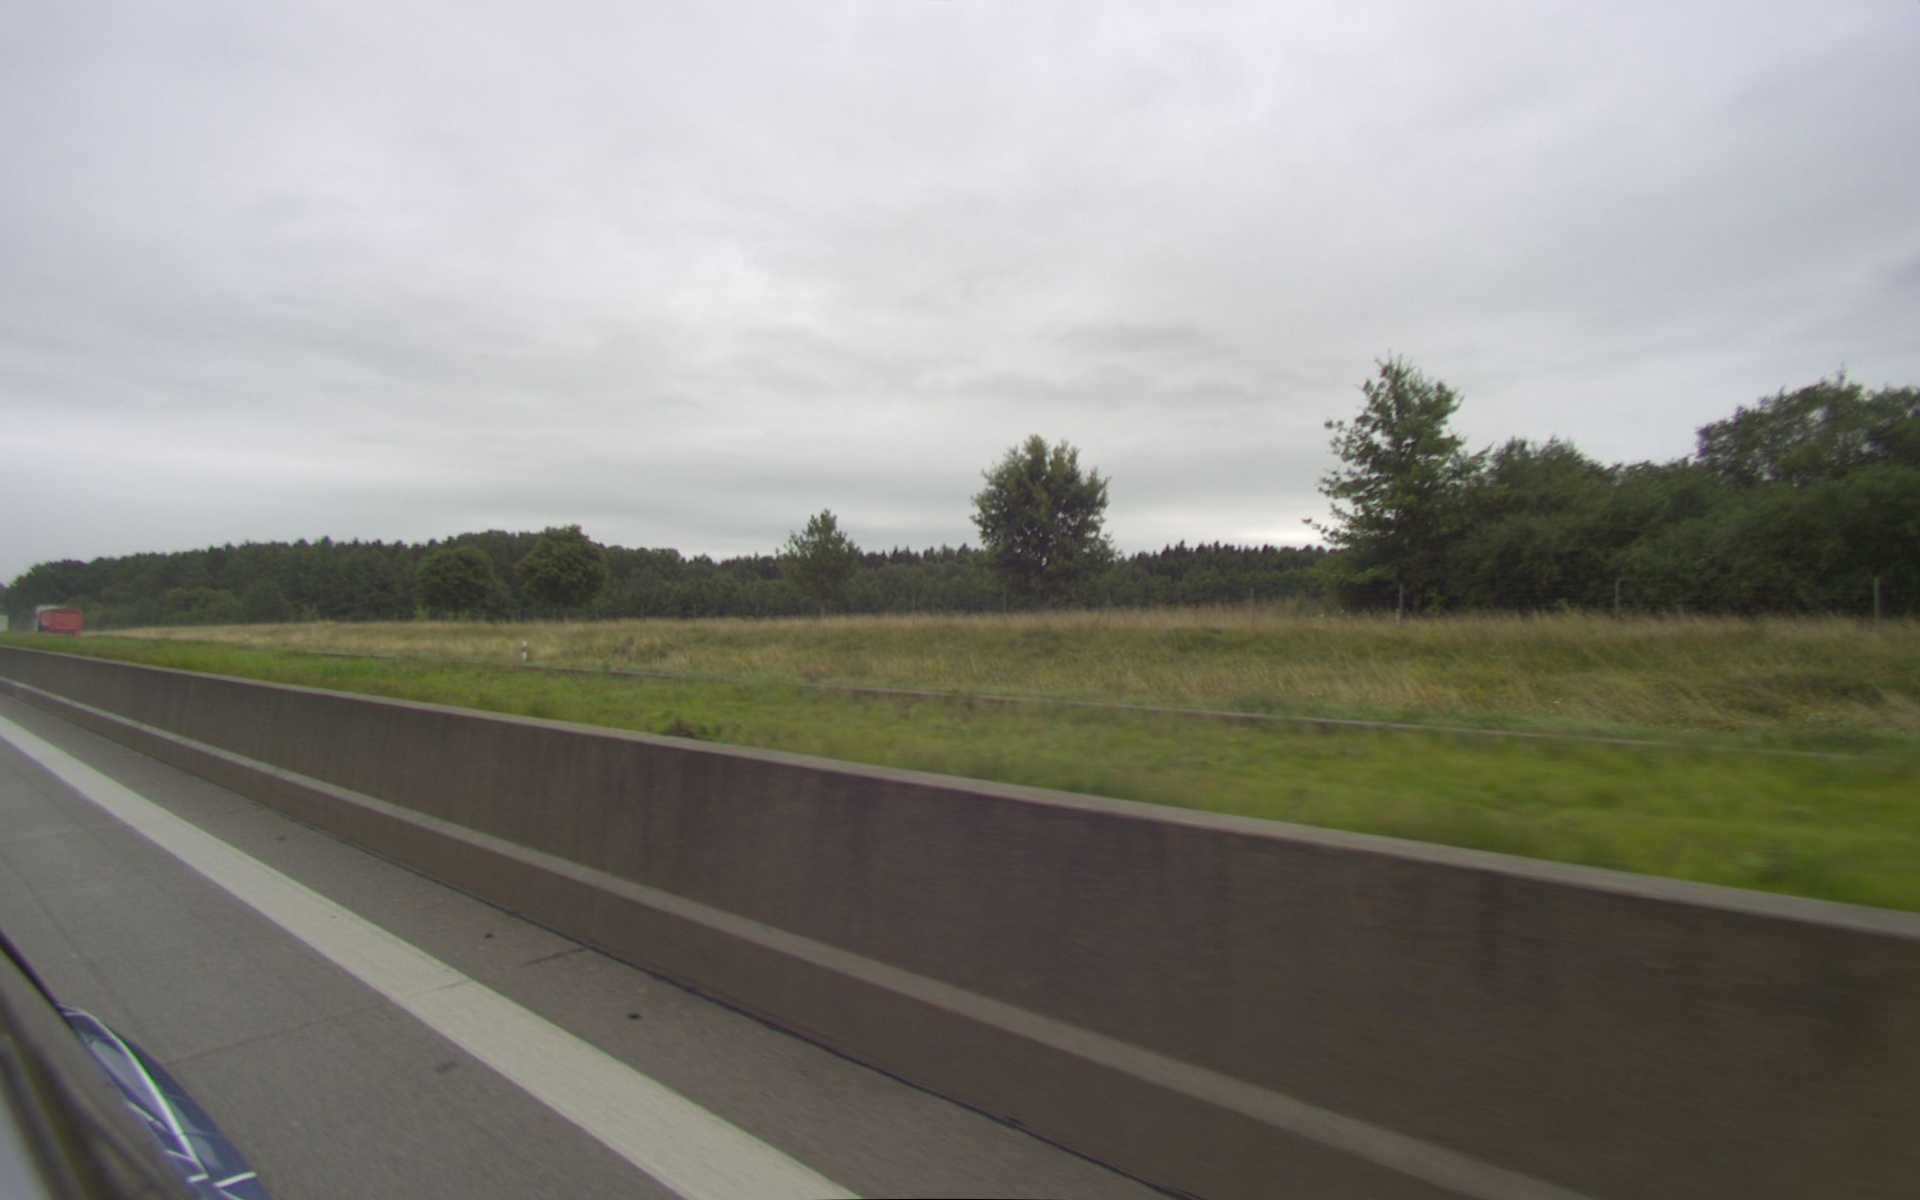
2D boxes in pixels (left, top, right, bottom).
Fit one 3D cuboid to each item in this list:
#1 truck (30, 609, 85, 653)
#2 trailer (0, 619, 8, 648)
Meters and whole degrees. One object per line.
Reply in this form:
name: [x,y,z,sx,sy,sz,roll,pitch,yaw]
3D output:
truck: [-93.969,3.175,105.233,13.100,4.238,2.725,0,-2,42]
trailer: [-152.770,5.337,159.400,13.552,4.373,3.193,-2,0,43]
